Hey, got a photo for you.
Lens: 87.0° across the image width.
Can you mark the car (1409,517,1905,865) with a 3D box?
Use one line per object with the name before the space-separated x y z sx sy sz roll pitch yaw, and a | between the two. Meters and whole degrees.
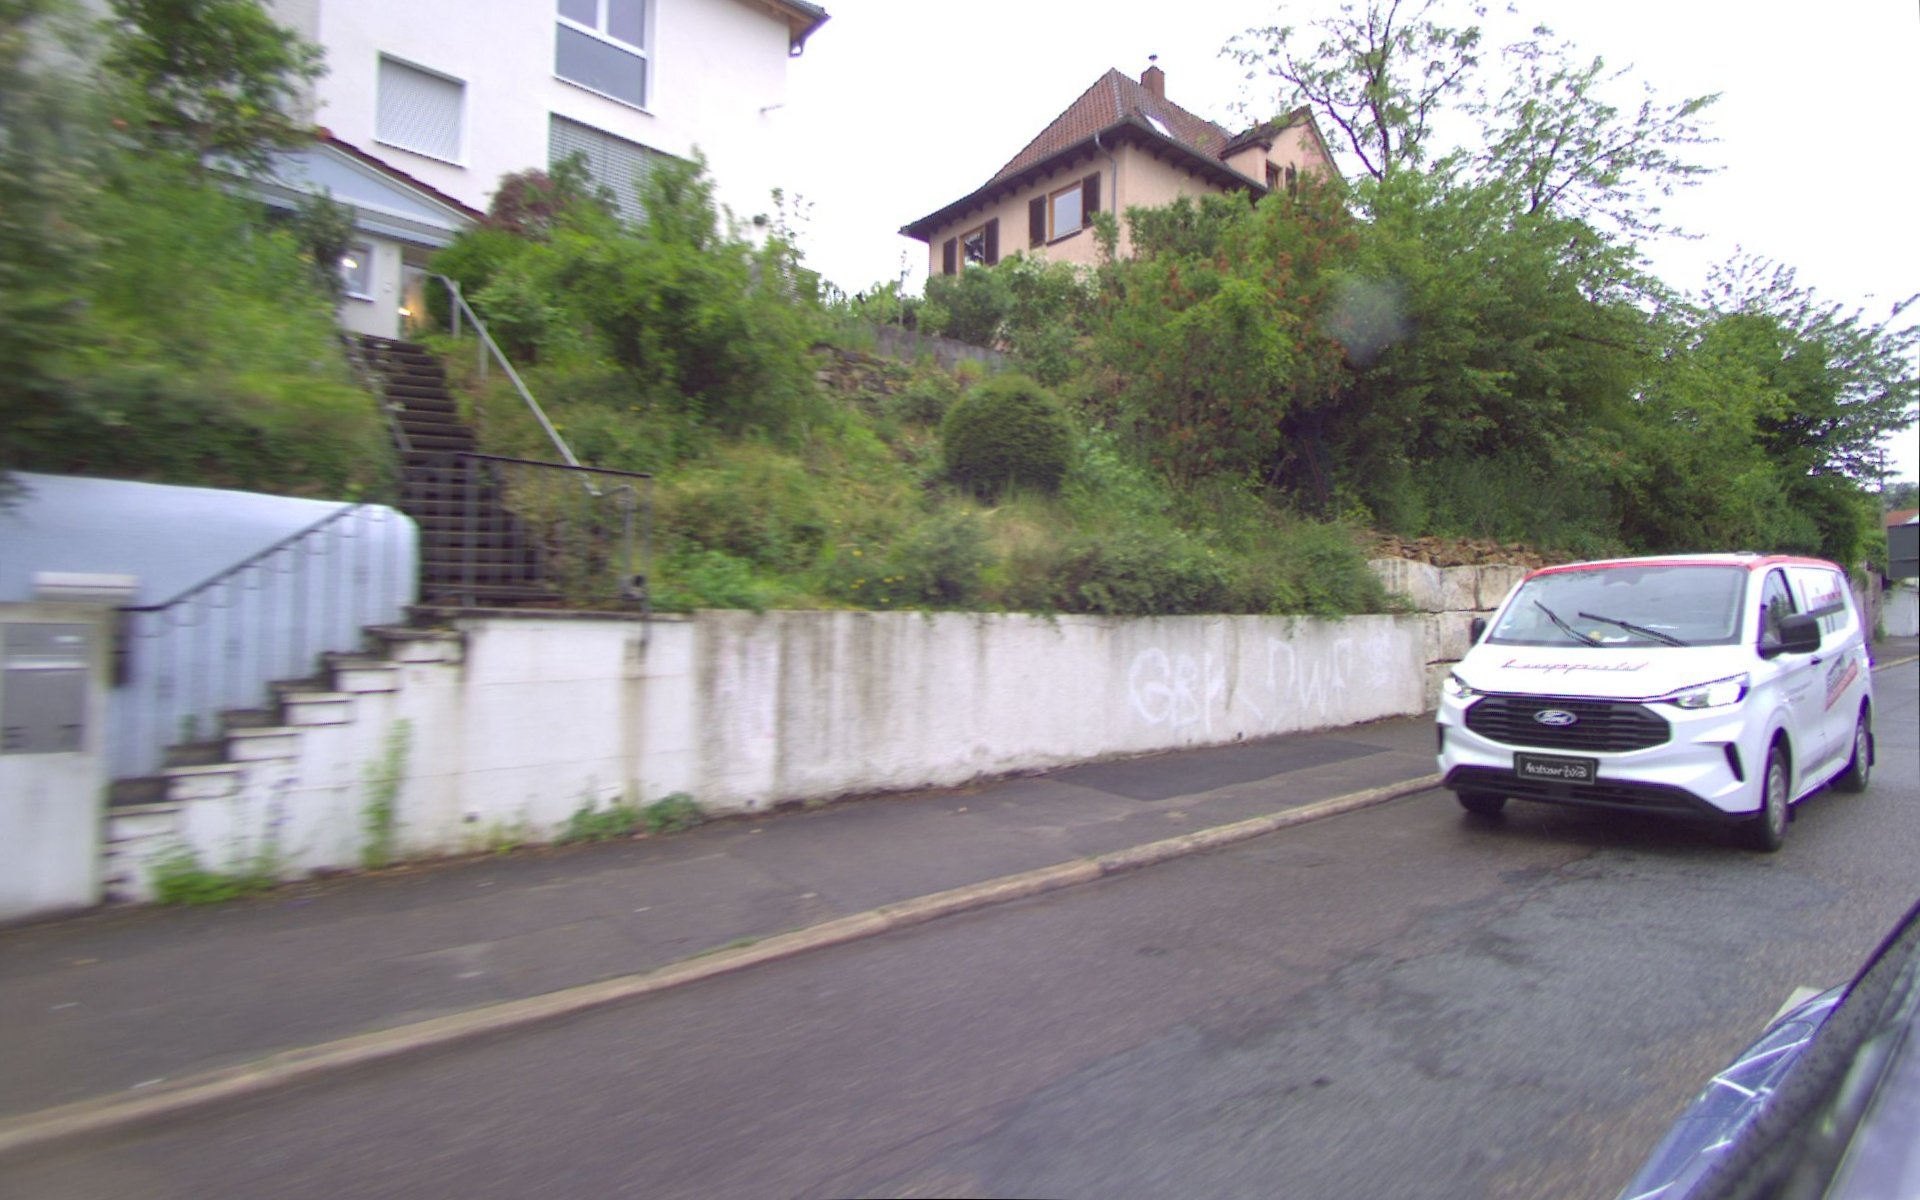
car | 5.615 0.553 7.940 4.434 1.964 2.040 1 -2 -40
